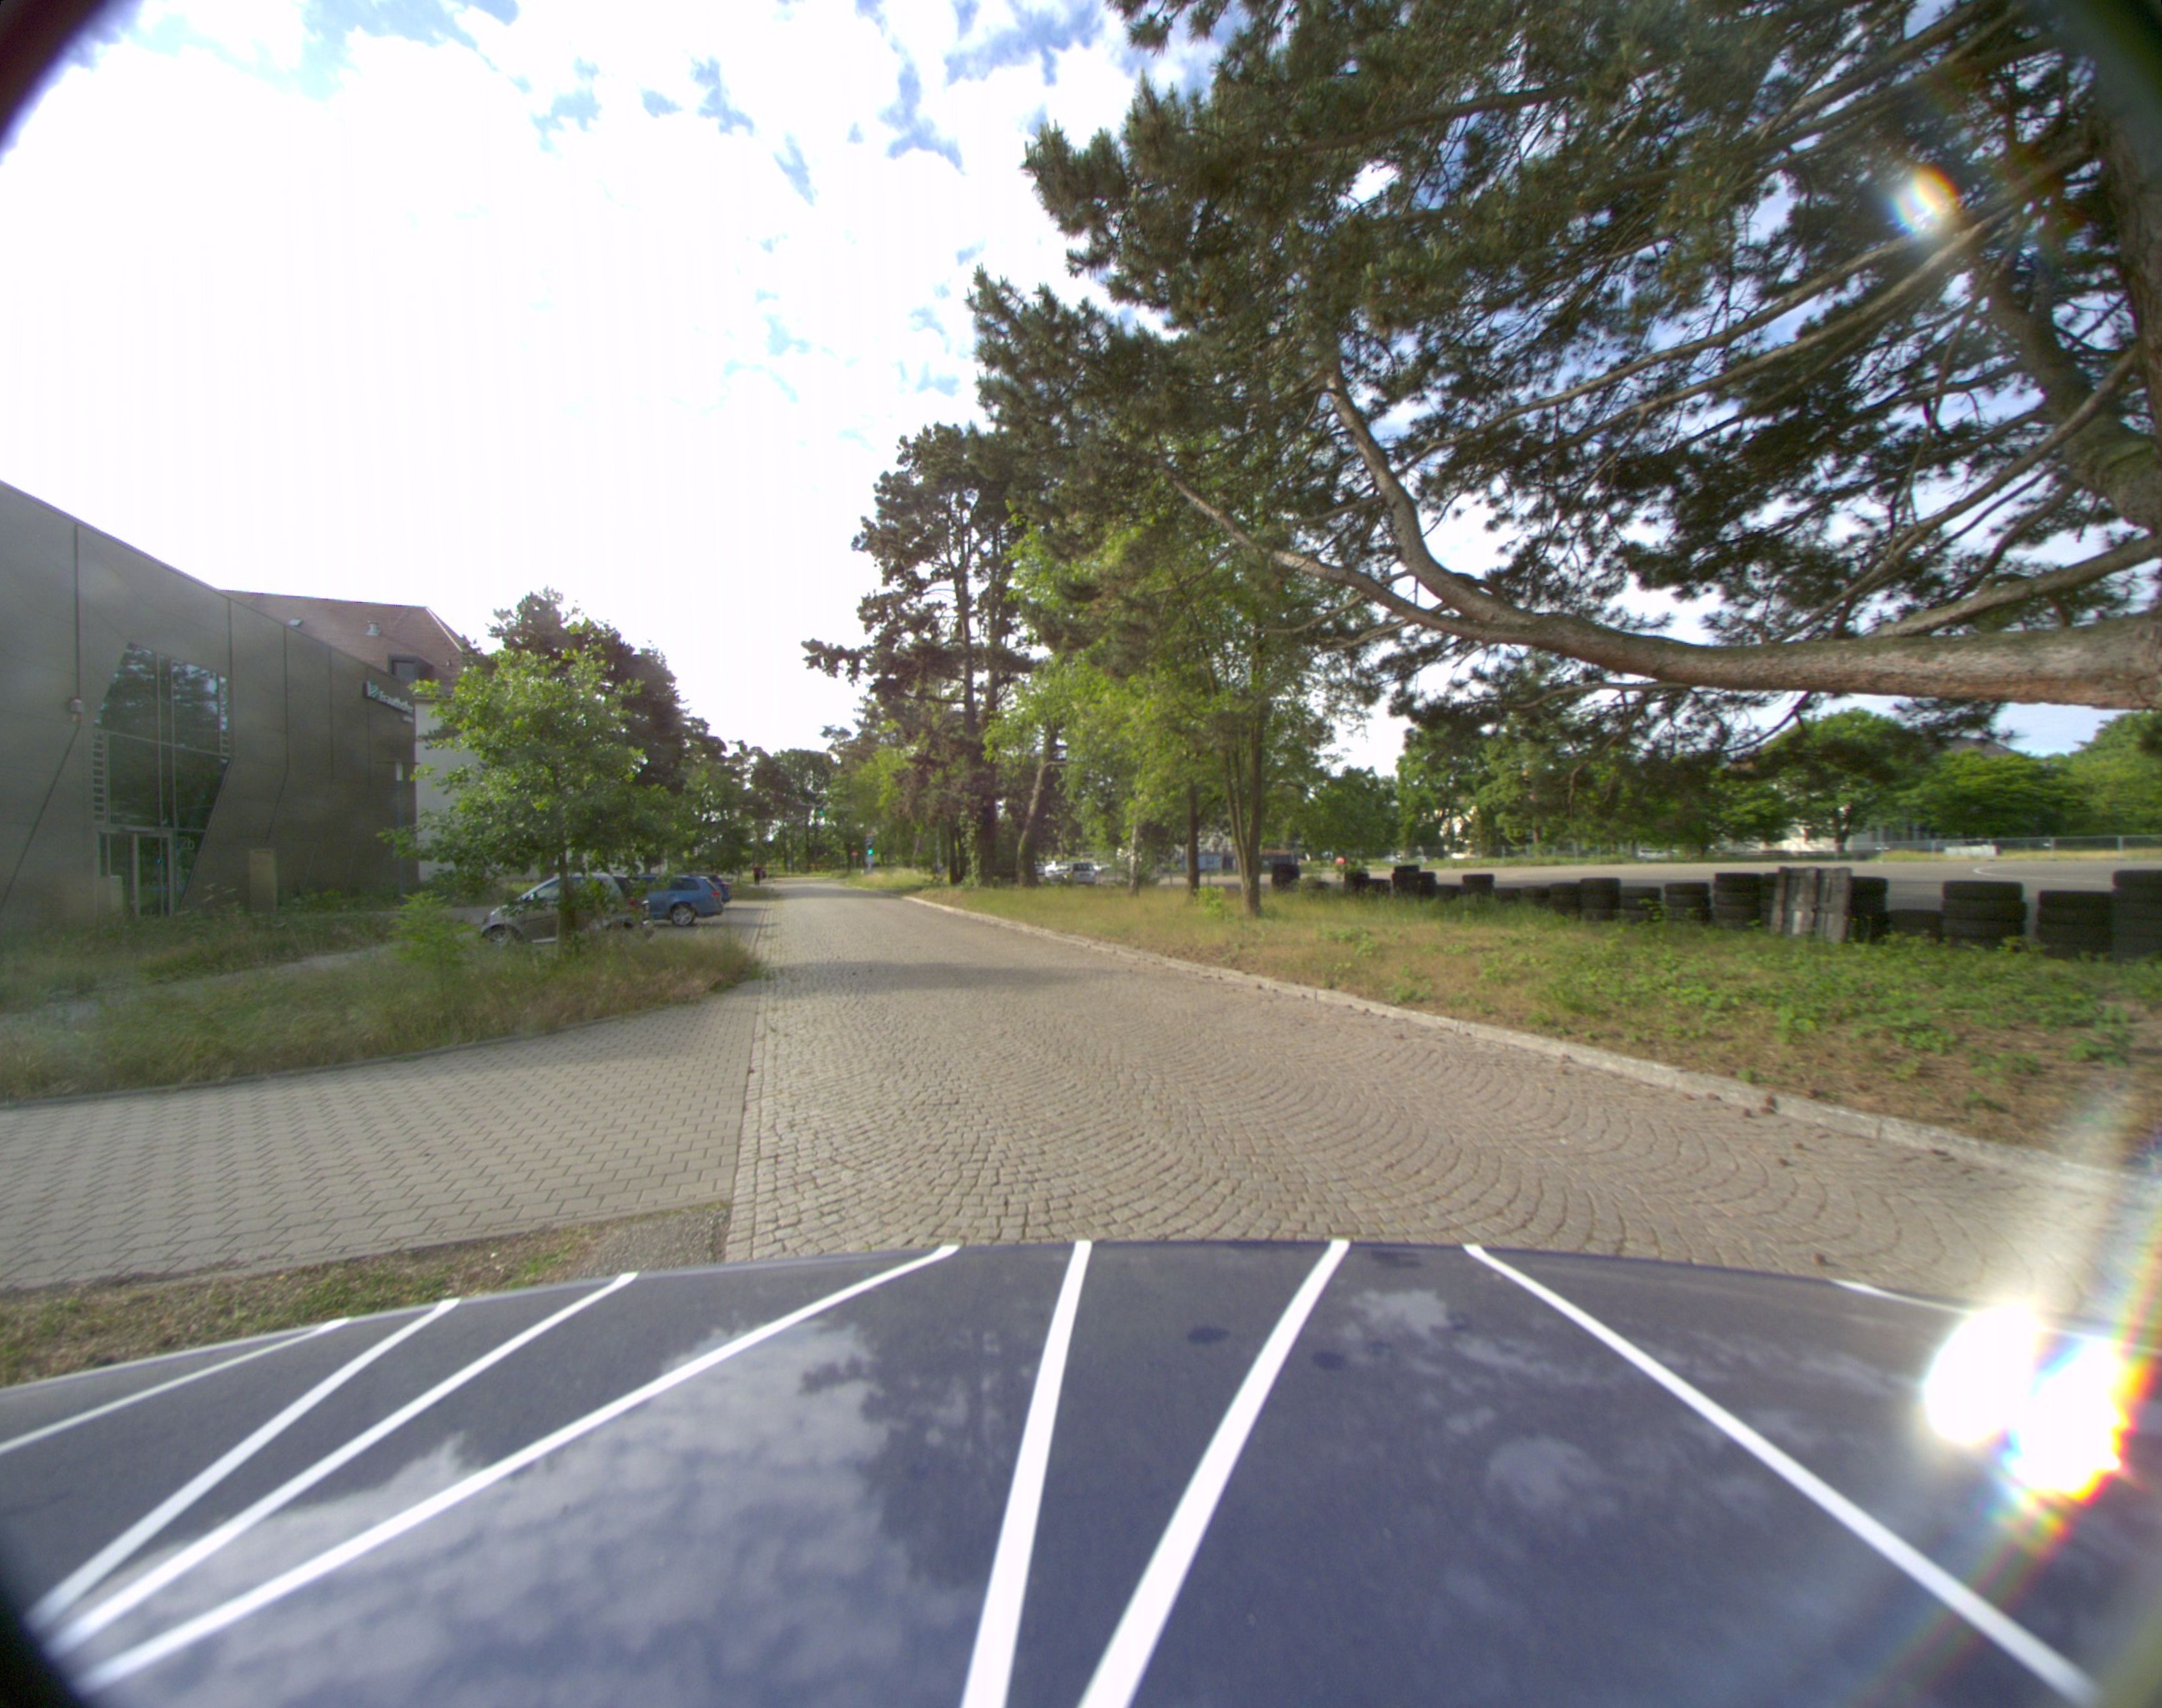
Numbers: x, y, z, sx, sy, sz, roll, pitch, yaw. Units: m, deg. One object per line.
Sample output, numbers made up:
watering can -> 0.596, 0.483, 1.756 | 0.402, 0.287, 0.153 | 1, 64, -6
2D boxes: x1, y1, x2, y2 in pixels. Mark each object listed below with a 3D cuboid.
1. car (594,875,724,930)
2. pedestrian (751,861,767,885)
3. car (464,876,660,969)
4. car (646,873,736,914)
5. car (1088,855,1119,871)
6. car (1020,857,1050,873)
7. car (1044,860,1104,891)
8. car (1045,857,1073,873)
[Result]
car -> -11.873, 1.350, 21.565 | 3.098, 1.448, 1.489 | 1, -1, -26
pedestrian -> -25.053, 1.440, 59.128 | 0.961, 1.833, 0.953 | -1, 0, -35
car -> -9.808, 1.241, 14.560 | 2.771, 1.540, 1.423 | -1, 0, -18
car -> -15.477, 1.543, 30.213 | 3.098, 1.441, 1.489 | -1, 0, -27
car -> 2.488, 0.994, 83.794 | 2.002, 1.608, 3.993 | -2, 0, -21
car -> -4.834, 1.185, 80.012 | 2.002, 1.608, 3.993 | -2, 0, -21
car -> -0.432, 1.150, 41.579 | 1.894, 1.532, 3.993 | -1, 0, -23
car -> -2.406, 1.139, 81.240 | 1.828, 1.608, 3.994 | -2, 0, -19
